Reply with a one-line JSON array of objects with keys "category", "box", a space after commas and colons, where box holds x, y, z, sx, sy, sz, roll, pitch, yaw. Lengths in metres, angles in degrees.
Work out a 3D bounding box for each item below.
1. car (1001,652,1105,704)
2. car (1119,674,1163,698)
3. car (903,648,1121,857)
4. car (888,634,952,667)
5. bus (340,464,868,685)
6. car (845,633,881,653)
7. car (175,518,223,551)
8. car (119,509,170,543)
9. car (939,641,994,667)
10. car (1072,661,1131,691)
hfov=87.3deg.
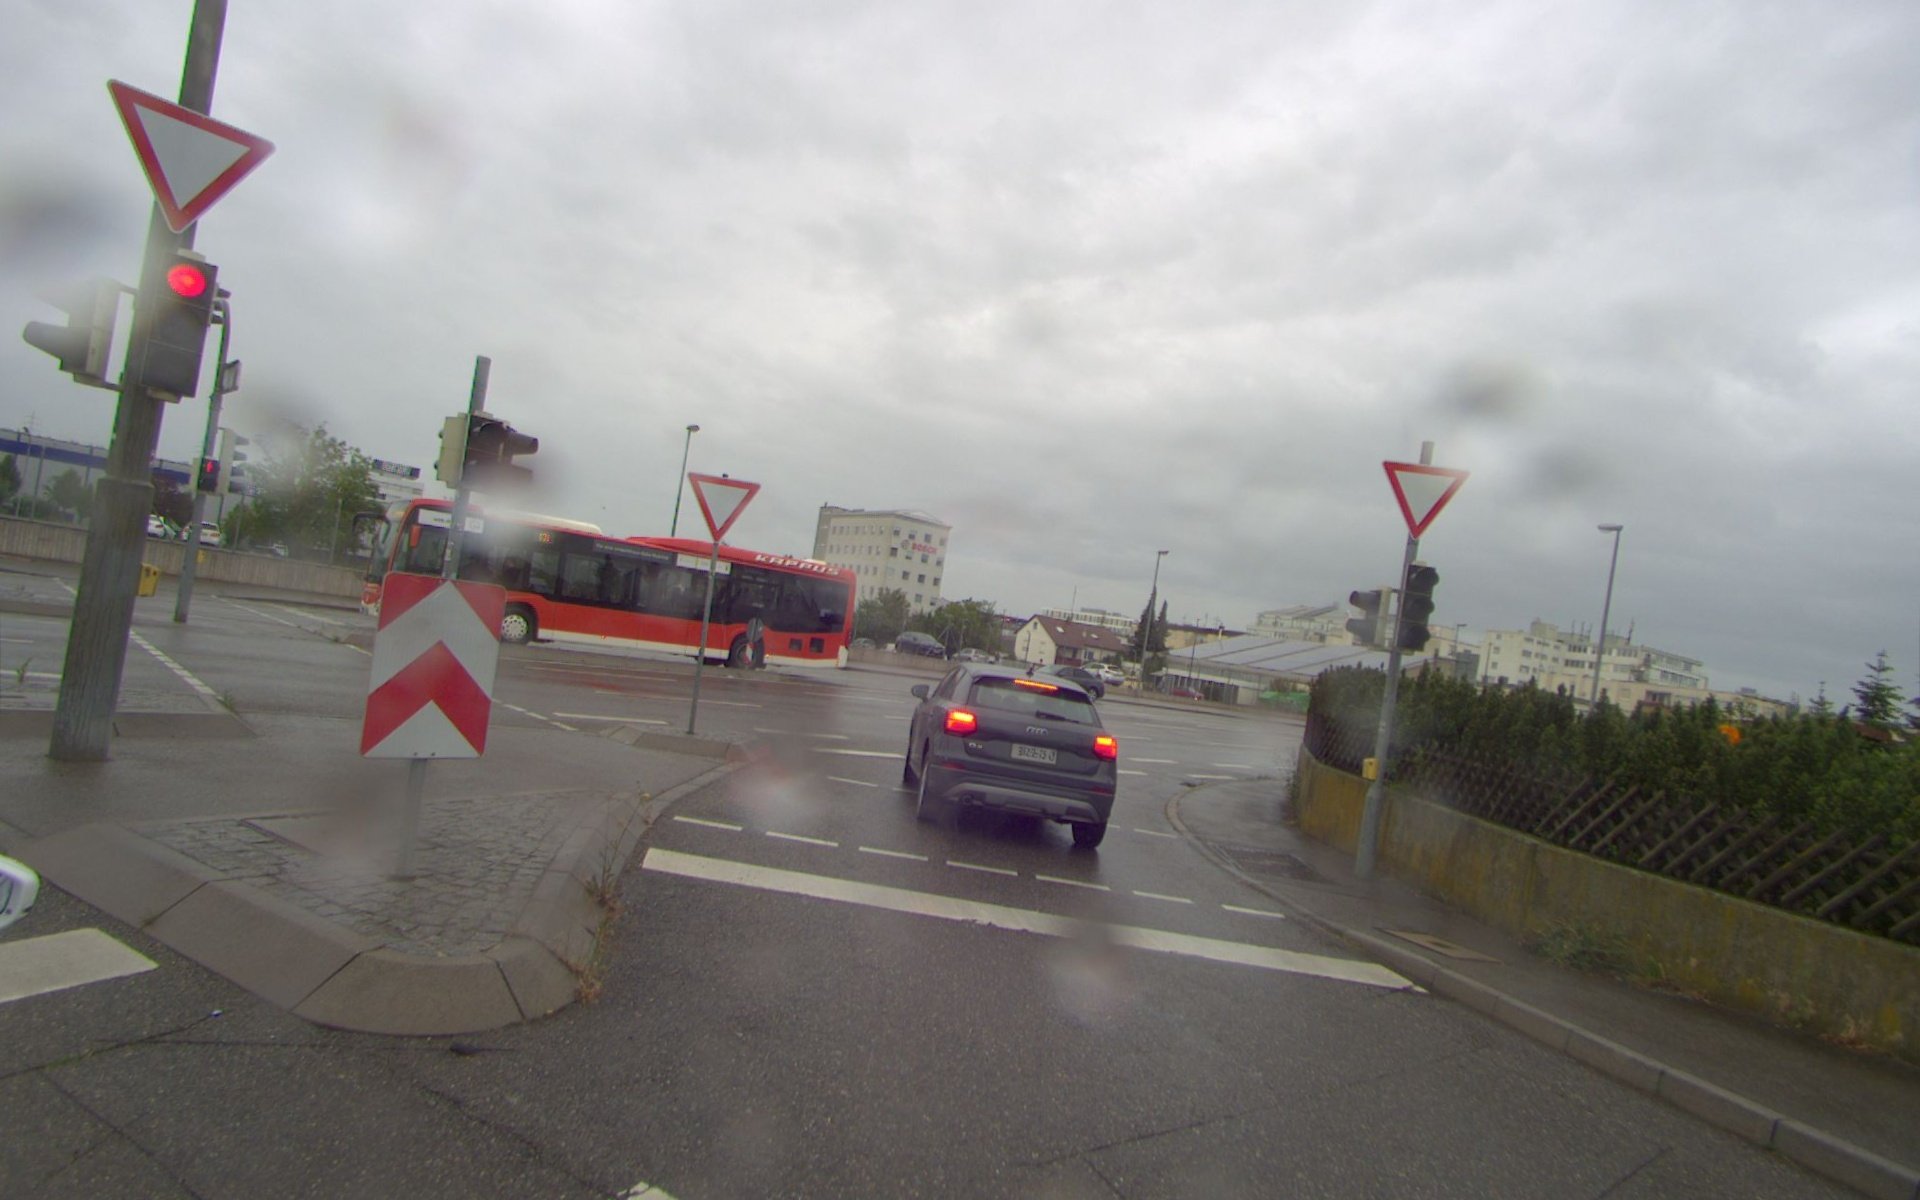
[{"category": "car", "box": [4.032, 3.390, 43.584, 3.963, 1.584, 1.984, 11, -3, -31]}, {"category": "car", "box": [17.998, 8.529, 100.058, 3.760, 1.771, 1.887, 9, -2, -29]}, {"category": "car", "box": [0.340, 1.404, 10.531, 1.659, 1.511, 3.942, 10, -3, -3]}, {"category": "car", "box": [-2.484, 3.097, 61.950, 1.983, 1.494, 3.964, 10, -2, -34]}, {"category": "bus", "box": [-8.346, -0.276, 25.761, 12.248, 3.357, 3.039, 12, -3, -41]}, {"category": "car", "box": [-9.698, 4.251, 100.486, 1.979, 1.494, 3.971, 9, -2, -29]}, {"category": "car", "box": [-43.908, -3.800, 58.022, 1.986, 1.495, 3.958, 10, -2, -38]}, {"category": "car", "box": [-45.627, -4.127, 56.354, 1.985, 1.495, 3.959, 10, -2, -38]}, {"category": "car", "box": [0.532, 4.383, 82.220, 3.951, 1.494, 1.989, 9, -2, -24]}, {"category": "car", "box": [9.789, 5.266, 69.931, 1.979, 1.494, 3.971, 9, -2, -29]}]
